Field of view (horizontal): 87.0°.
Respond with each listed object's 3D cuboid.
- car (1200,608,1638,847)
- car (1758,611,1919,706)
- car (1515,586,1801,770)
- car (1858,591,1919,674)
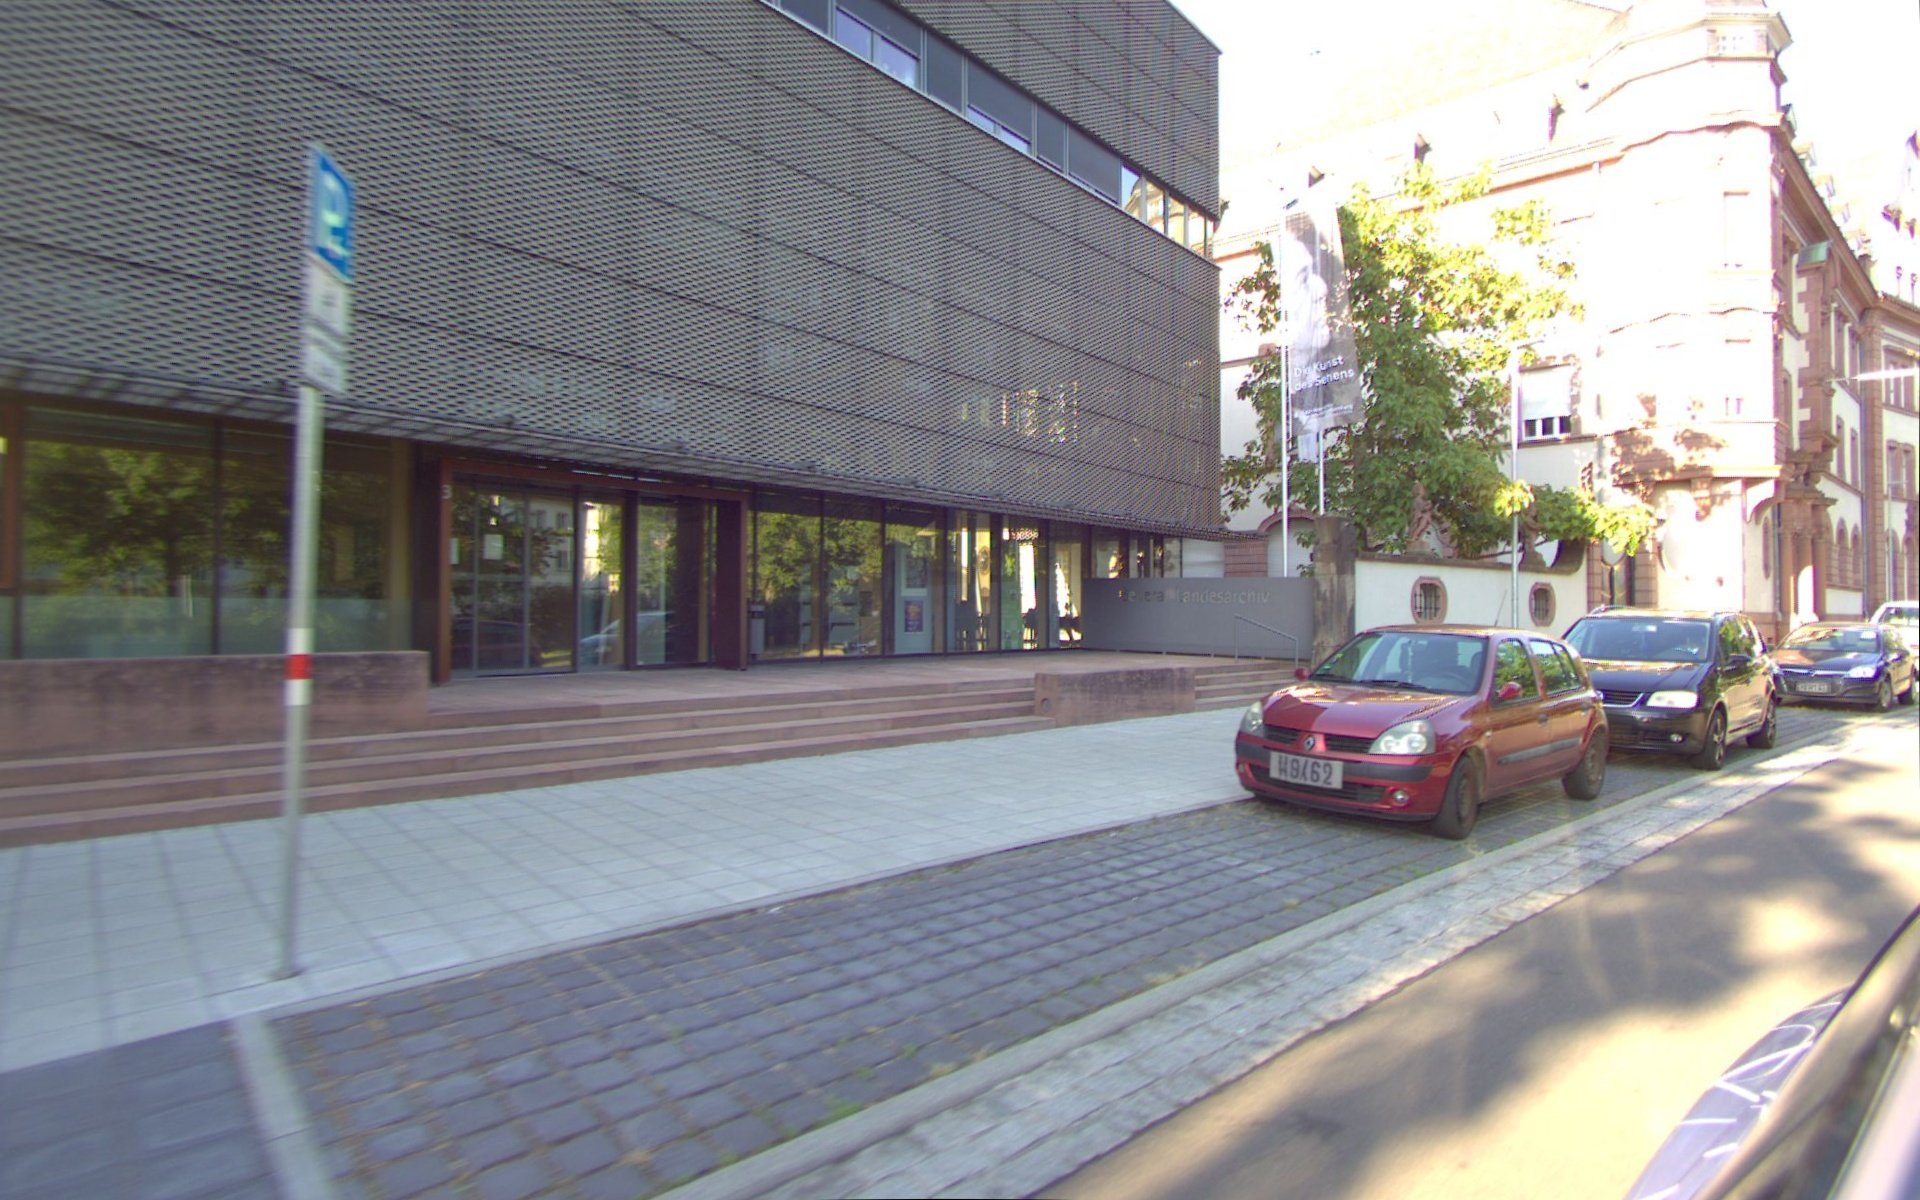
[{"bbox_3d":[3.817,0.810,8.145,3.836,1.439,1.728,1,0,-40],"label":"car"},{"bbox_3d":[16.004,0.954,18.182,4.397,1.485,1.751,1,0,-40],"label":"car"},{"bbox_3d":[7.959,0.740,11.395,4.042,1.690,1.727,1,0,-42],"label":"car"},{"bbox_3d":[25.087,0.790,25.958,4.756,1.991,2.000,0,0,-34],"label":"car"}]
